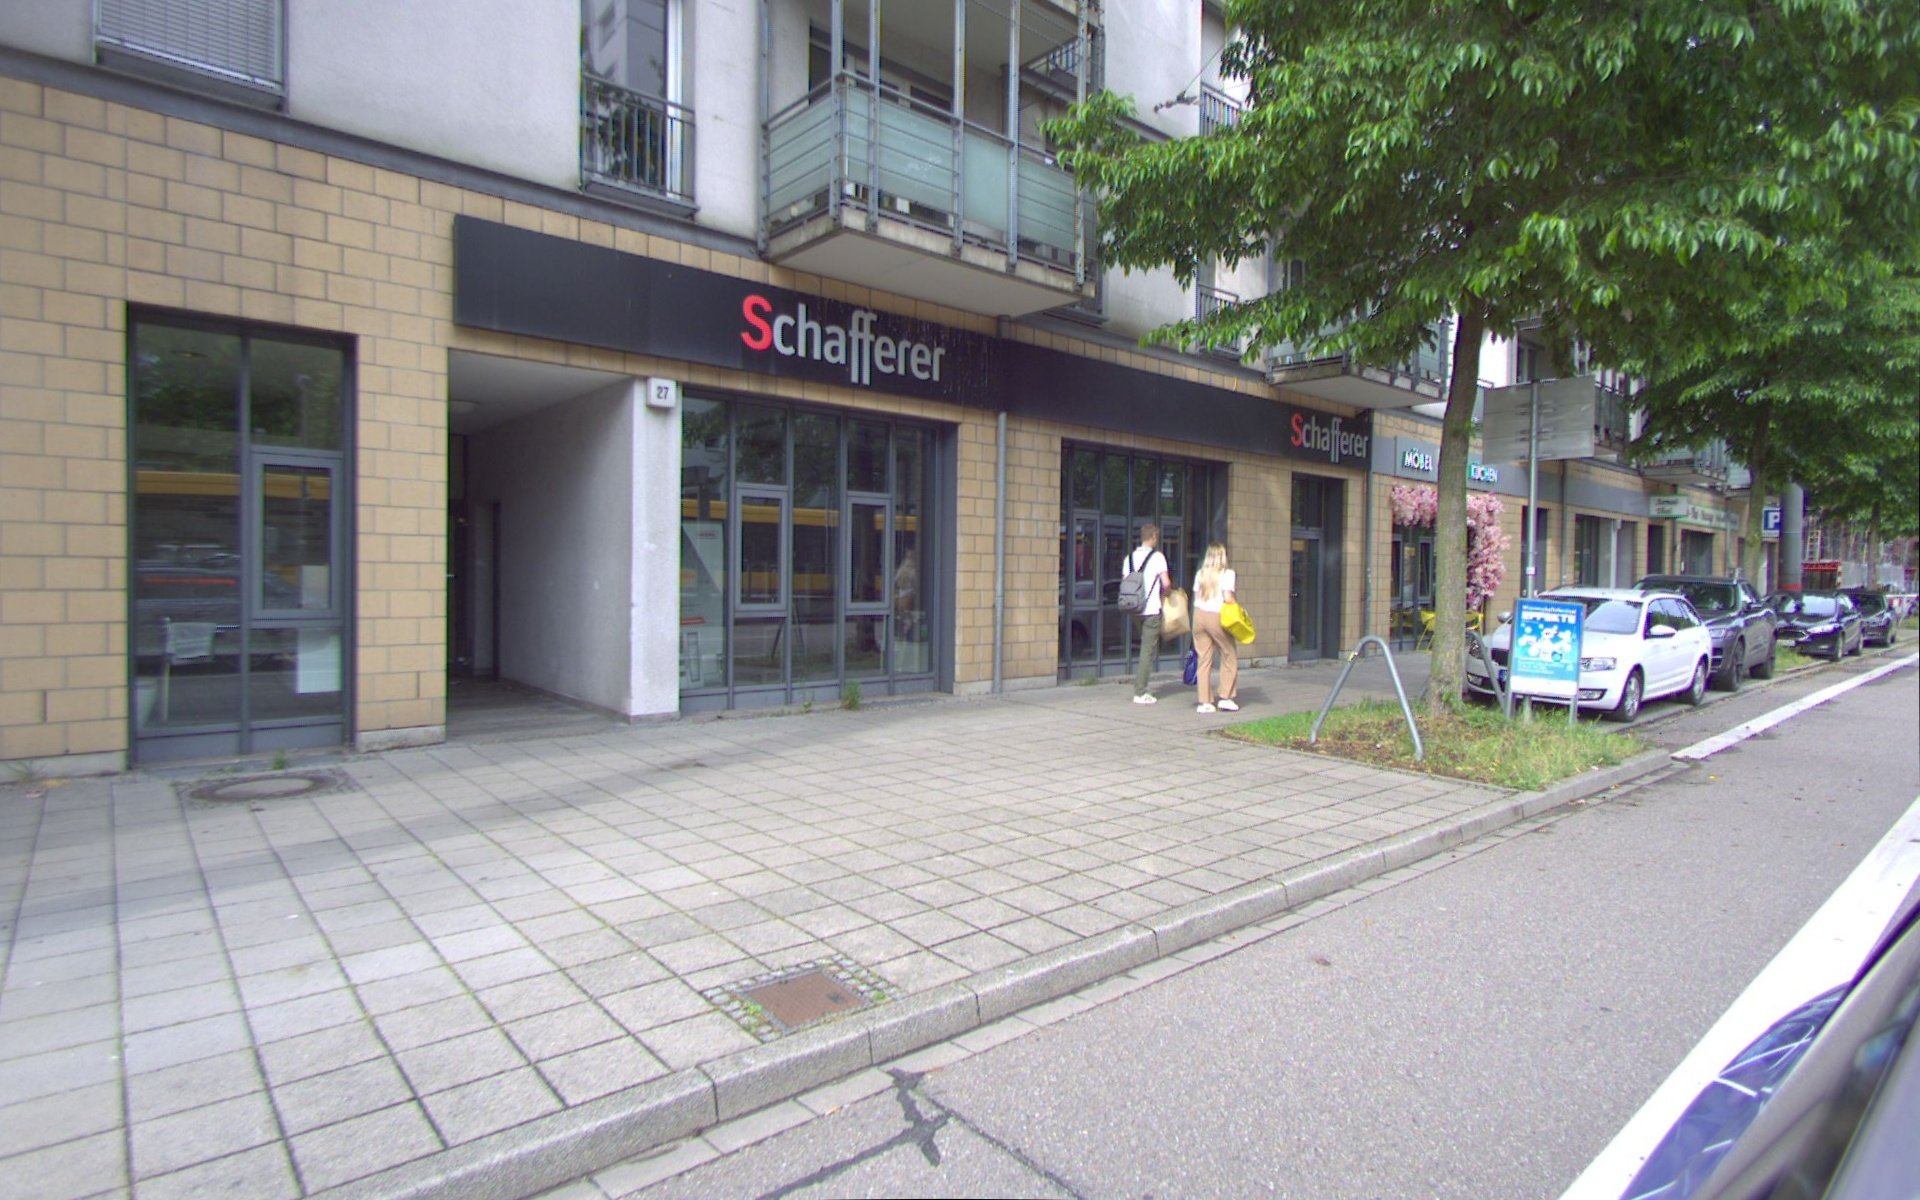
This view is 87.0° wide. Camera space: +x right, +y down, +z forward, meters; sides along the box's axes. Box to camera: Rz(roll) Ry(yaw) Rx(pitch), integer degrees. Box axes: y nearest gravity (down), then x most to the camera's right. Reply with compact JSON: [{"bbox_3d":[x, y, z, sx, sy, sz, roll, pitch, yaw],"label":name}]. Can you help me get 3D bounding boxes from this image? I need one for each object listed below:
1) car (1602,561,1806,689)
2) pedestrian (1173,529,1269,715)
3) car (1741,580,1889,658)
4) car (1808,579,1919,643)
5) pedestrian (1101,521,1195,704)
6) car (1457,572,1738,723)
[{"bbox_3d":[12.119,0.289,16.362,4.632,1.737,1.715,-1,4,-42],"label":"car"},{"bbox_3d":[2.680,0.200,10.386,0.724,1.828,0.617,0,2,-39],"label":"pedestrian"},{"bbox_3d":[18.710,0.329,22.081,4.329,1.459,1.681,-1,4,-40],"label":"car"},{"bbox_3d":[24.303,0.229,27.149,4.315,1.472,1.800,-1,5,-43],"label":"car"},{"bbox_3d":[2.047,0.116,11.039,0.724,1.914,0.677,0,2,-39],"label":"pedestrian"},{"bbox_3d":[8.119,0.460,12.740,4.312,1.517,1.681,-1,4,-40],"label":"car"}]
